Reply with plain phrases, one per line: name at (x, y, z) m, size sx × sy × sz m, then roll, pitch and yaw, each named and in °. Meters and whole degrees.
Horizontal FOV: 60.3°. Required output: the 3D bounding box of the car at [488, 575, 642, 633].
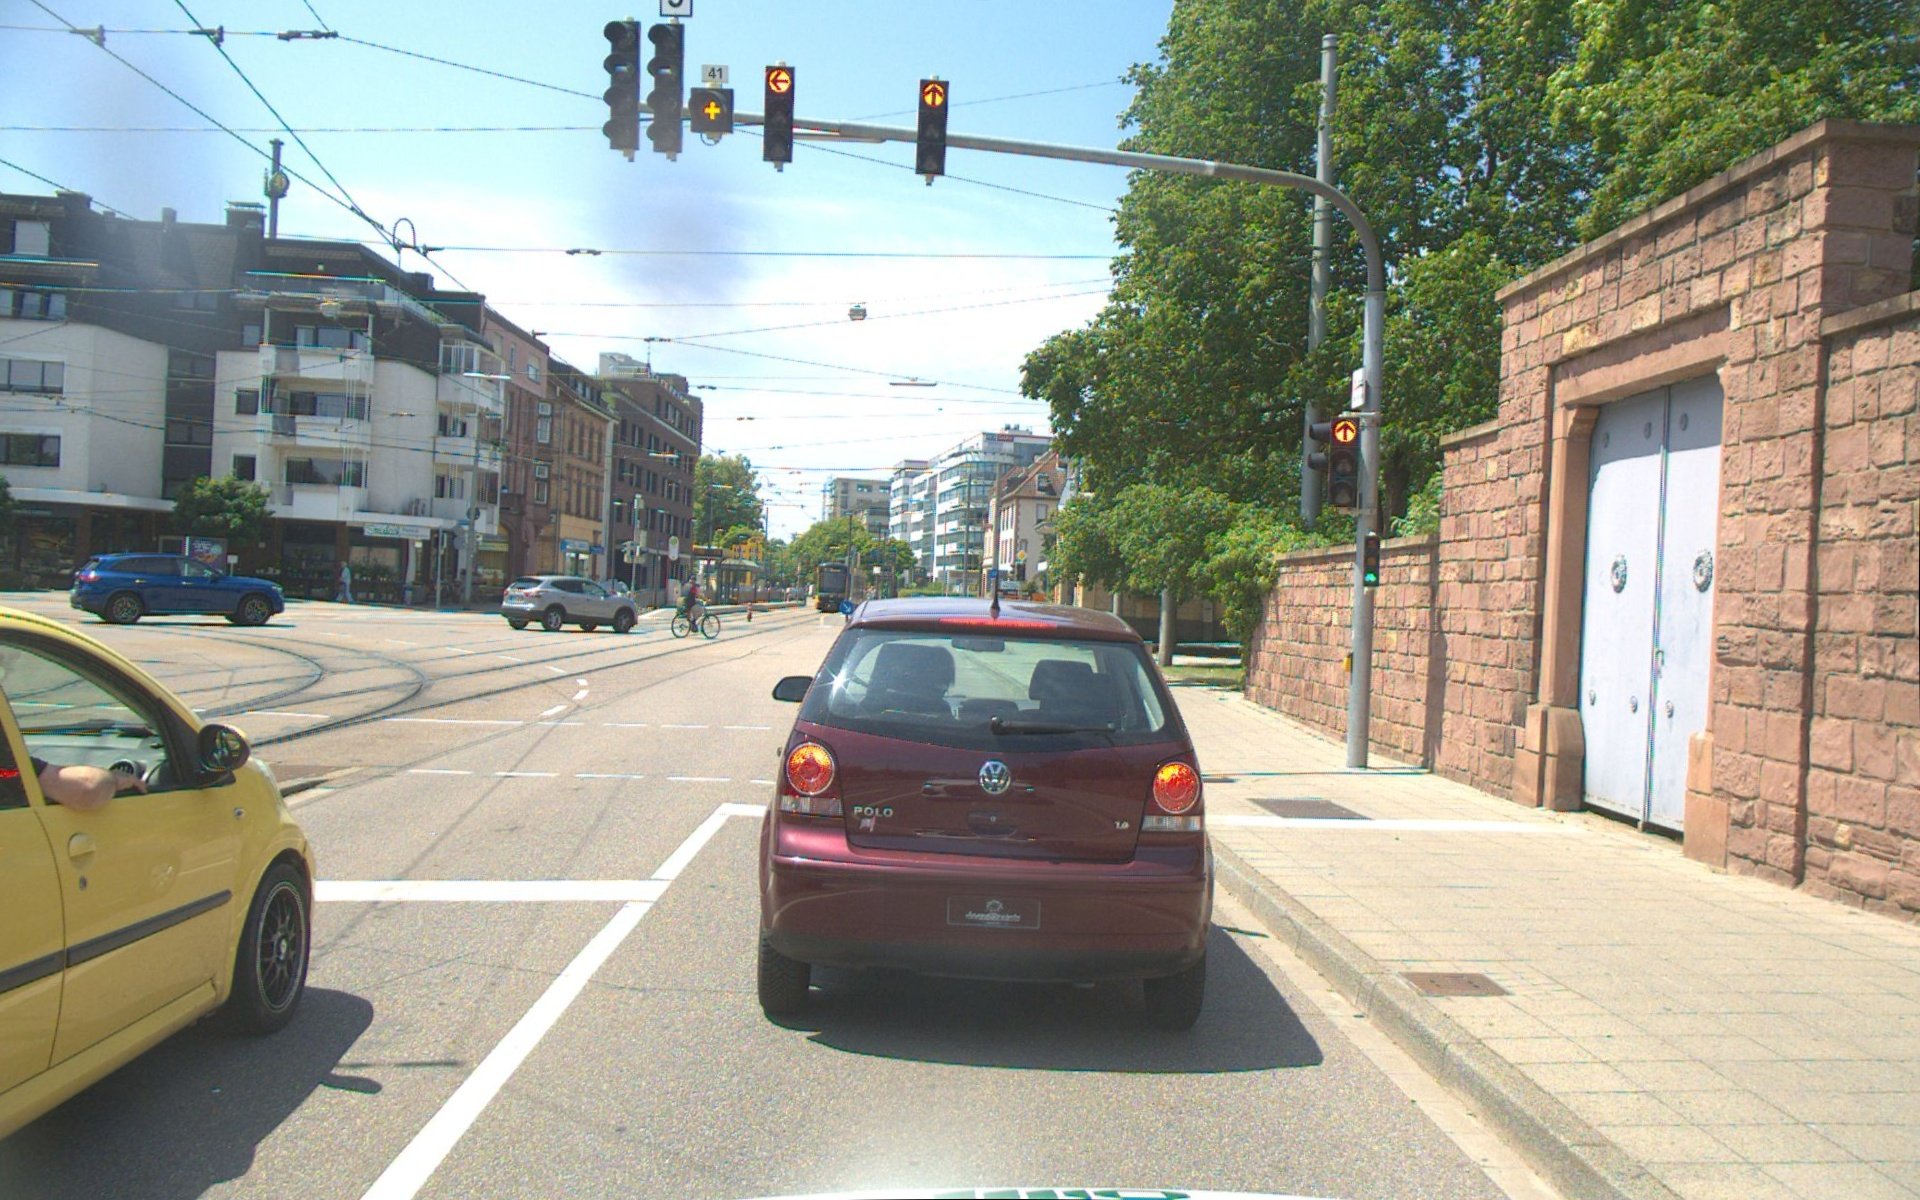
car at (-11.609, 0.130, 48.784) m, size 1.902 × 1.612 × 4.132 m, roll 0°, pitch -1°, yaw 38°

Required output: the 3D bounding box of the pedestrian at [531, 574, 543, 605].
pedestrian at (-21.541, -0.526, 84.254) m, size 0.474 × 1.568 × 0.537 m, roll 1°, pitch -1°, yaw -8°

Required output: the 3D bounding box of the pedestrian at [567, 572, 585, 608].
pedestrian at (-19.834, -0.536, 85.456) m, size 0.648 × 1.818 × 0.815 m, roll 2°, pitch 0°, yaw -1°

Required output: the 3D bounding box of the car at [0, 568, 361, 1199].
car at (-2.933, 0.651, 4.192) m, size 1.688 × 1.470 × 3.291 m, roll 0°, pitch 1°, yaw -2°

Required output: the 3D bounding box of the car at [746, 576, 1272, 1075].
car at (0.082, 0.696, 7.168) m, size 1.578 × 1.489 × 4.083 m, roll 2°, pitch 0°, yaw -2°

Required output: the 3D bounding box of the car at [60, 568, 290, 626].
car at (-18.852, -0.053, 39.799) m, size 4.733 × 1.258 × 1.914 m, roll 1°, pitch -1°, yaw -37°

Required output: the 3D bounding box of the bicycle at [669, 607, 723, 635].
bicycle at (-7.685, 0.628, 48.254) m, size 0.456 × 0.797 × 1.984 m, roll 0°, pitch -1°, yaw 27°

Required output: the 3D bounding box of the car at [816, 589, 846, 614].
car at (-9.097, 0.127, 116.746) m, size 1.899 × 1.670 × 3.998 m, roll 1°, pitch -1°, yaw -2°

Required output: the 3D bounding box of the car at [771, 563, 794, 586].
car at (-16.430, -2.316, 153.133) m, size 1.700 × 2.049 × 3.999 m, roll 2°, pitch 0°, yaw -1°

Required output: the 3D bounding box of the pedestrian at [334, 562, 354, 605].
pedestrian at (-25.427, -0.683, 68.274) m, size 0.497 × 1.785 × 0.606 m, roll 0°, pitch -1°, yaw 45°

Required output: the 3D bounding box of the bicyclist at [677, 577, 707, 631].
bicyclist at (-7.788, 0.119, 48.065) m, size 0.471 × 1.527 × 0.751 m, roll 0°, pitch -1°, yaw 27°
